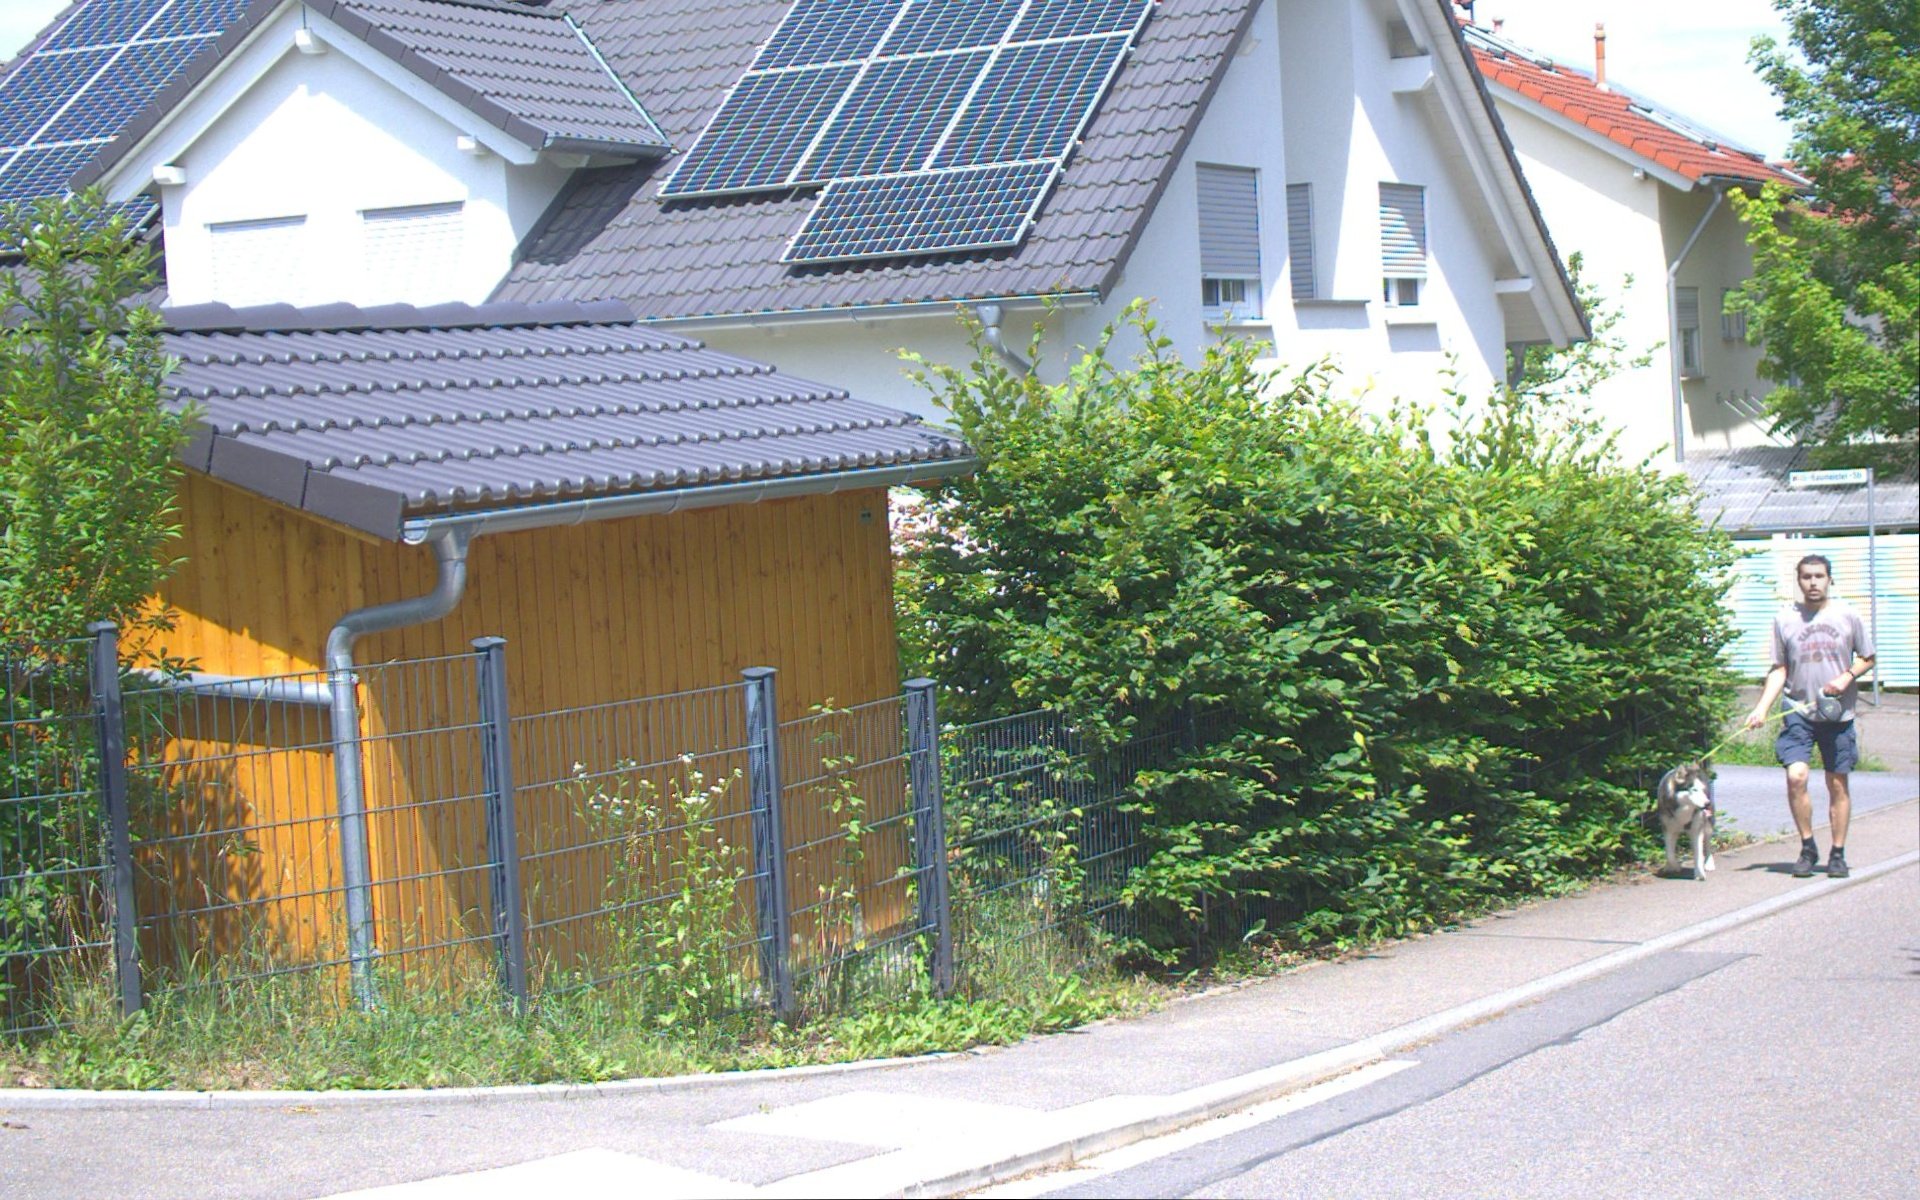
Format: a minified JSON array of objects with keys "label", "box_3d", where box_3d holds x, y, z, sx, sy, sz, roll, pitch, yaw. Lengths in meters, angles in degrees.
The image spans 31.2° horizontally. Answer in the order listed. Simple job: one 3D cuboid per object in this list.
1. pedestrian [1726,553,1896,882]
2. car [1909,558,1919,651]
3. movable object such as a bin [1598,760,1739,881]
[{"label":"pedestrian","box_3d":[4.830,0.653,19.486,0.847,1.813,0.834,0,-1,20]},{"label":"car","box_3d":[16.744,0.077,54.142,3.417,1.415,1.585,0,2,15]},{"label":"movable object such as a bin","box_3d":[4.004,1.235,19.396,0.549,0.626,1.019,0,-1,26]}]
